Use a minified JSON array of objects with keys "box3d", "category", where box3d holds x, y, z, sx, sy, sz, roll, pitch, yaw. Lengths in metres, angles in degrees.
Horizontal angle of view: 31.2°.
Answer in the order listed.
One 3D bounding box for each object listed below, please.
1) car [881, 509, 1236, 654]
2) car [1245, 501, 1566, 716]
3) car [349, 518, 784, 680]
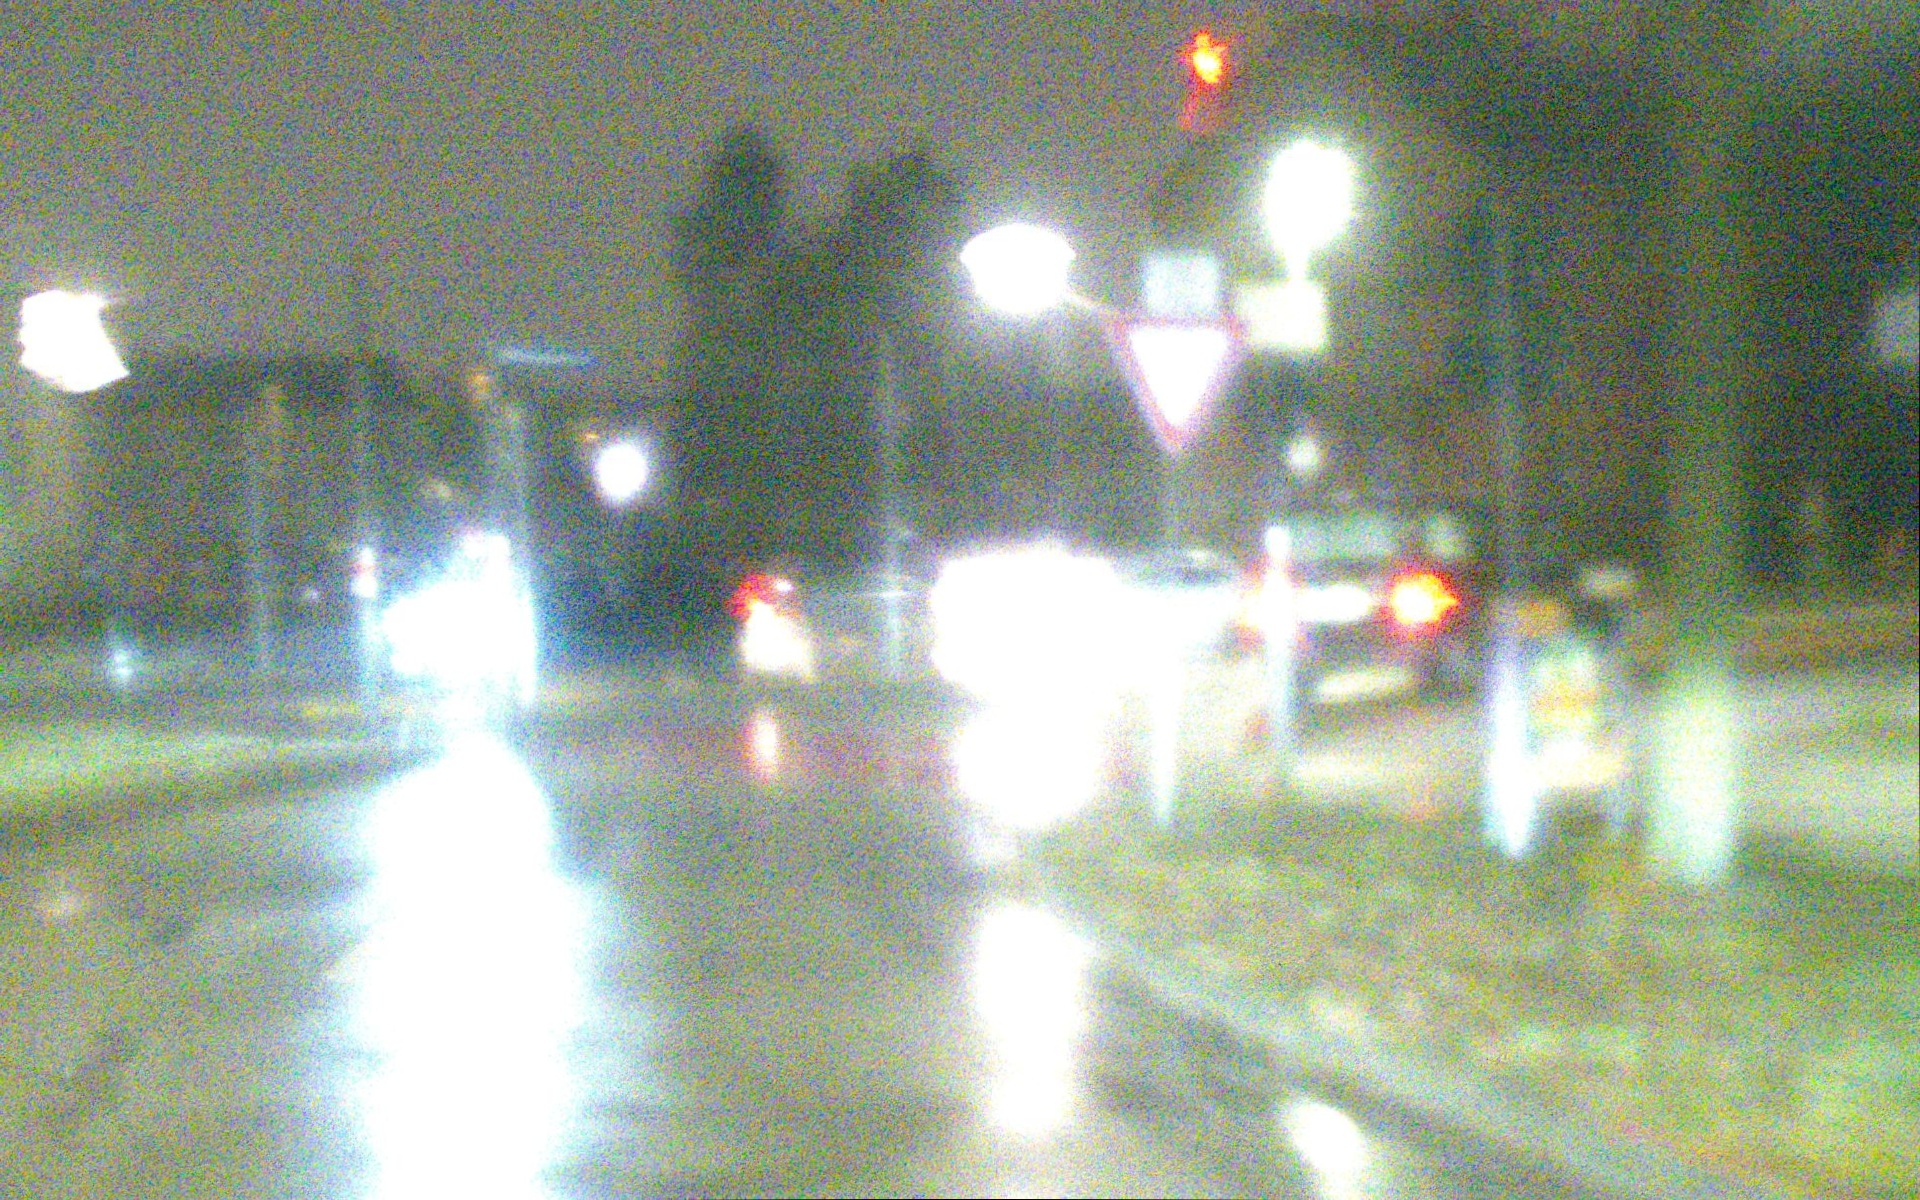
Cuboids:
[{"box3d":[1.309,-0.286,44.808,4.381,1.752,1.878,-2,2,-36],"category":"car"},{"box3d":[4.635,0.020,35.158,1.996,2.006,4.552,0,2,24],"category":"car"},{"box3d":[-4.554,-0.061,40.036,4.605,1.730,2.000,-2,2,-33],"category":"car"}]
